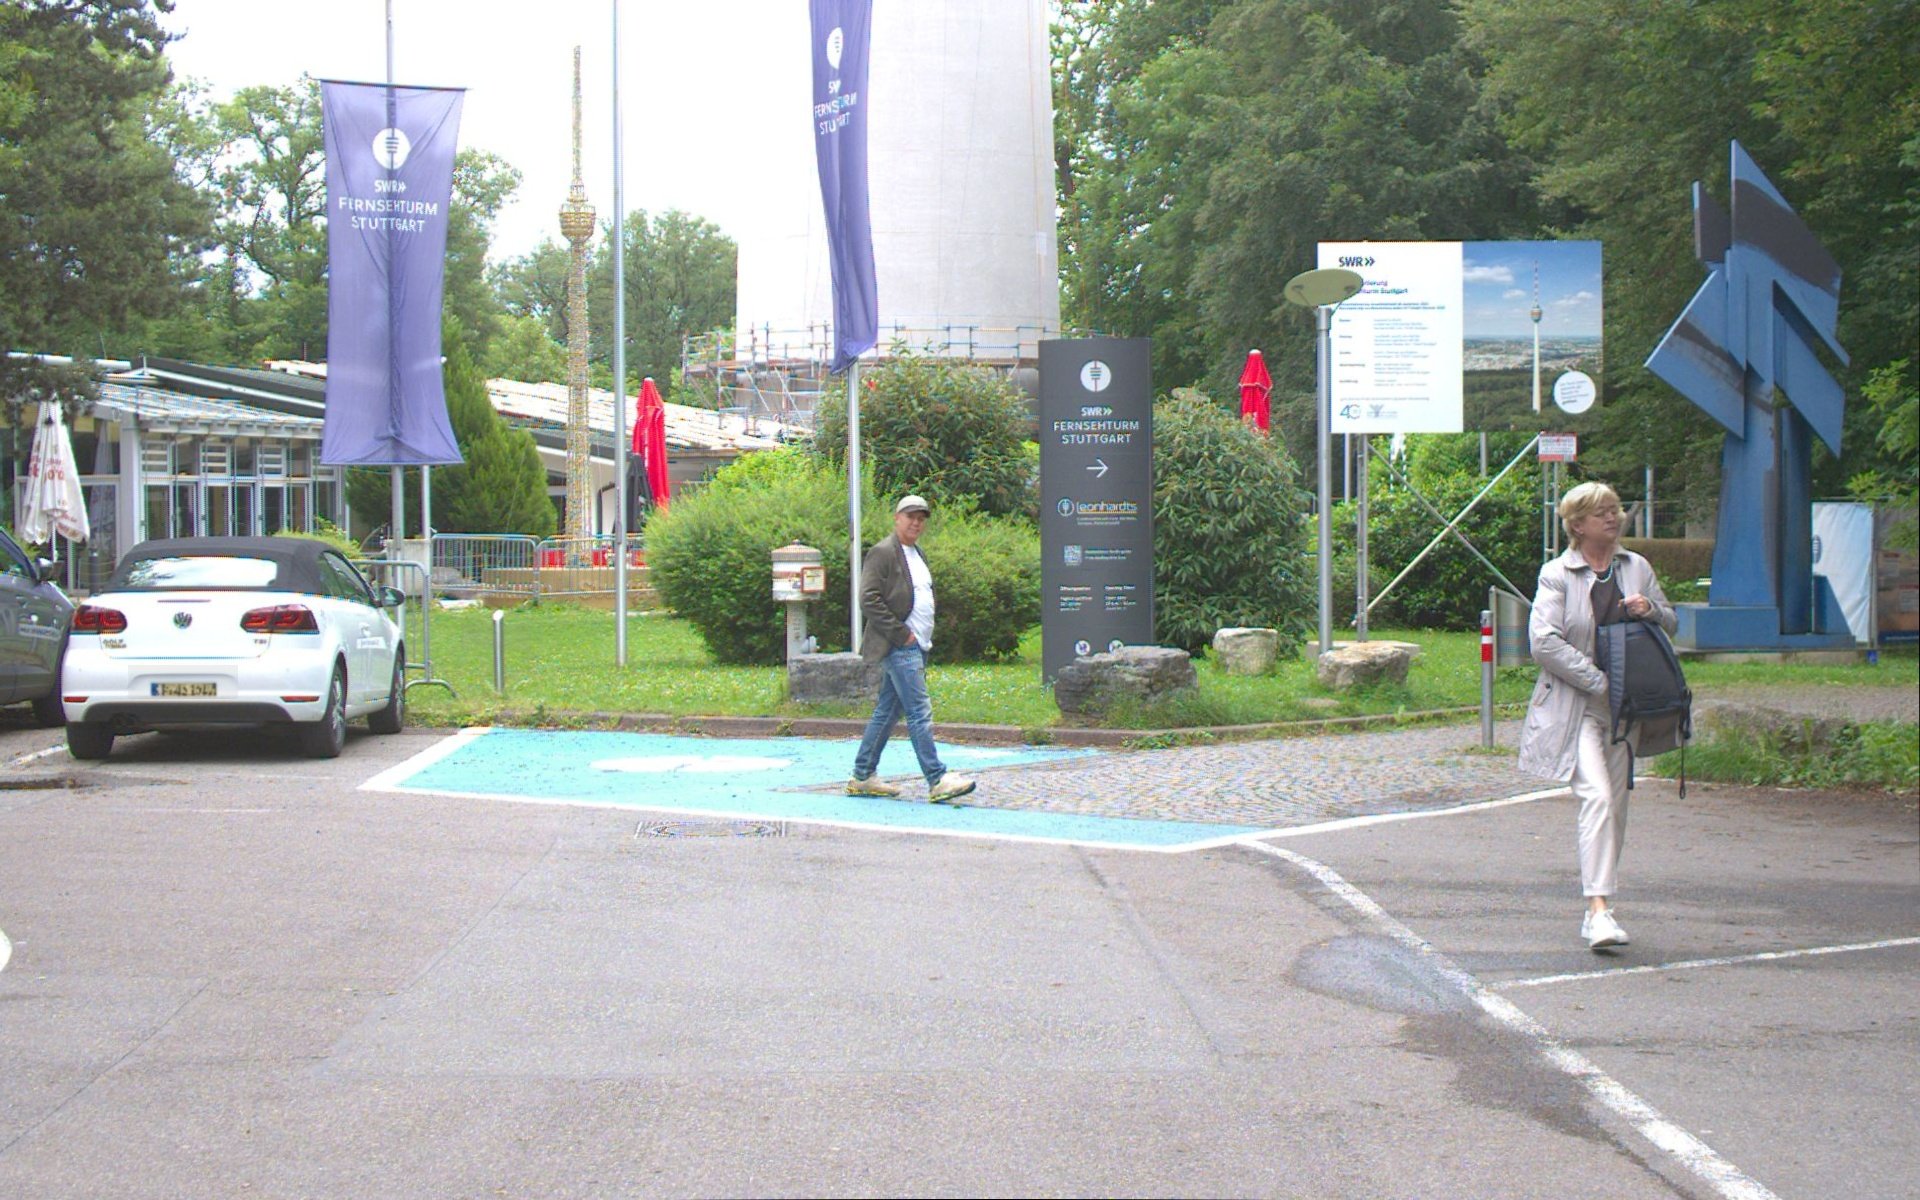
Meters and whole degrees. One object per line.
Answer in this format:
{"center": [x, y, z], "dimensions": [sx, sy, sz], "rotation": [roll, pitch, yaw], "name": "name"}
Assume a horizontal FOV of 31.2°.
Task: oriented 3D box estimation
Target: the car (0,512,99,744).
{"center": [-7.471, 0.174, 24.003], "dimensions": [1.893, 1.579, 4.000], "rotation": [0, 1, 0], "name": "car"}

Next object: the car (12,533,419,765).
{"center": [-4.934, 0.266, 23.337], "dimensions": [1.893, 1.423, 4.000], "rotation": [0, 1, 0], "name": "car"}

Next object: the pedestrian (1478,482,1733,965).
{"center": [2.367, 0.432, 12.699], "dimensions": [0.762, 1.719, 0.897], "rotation": [0, 1, 0], "name": "pedestrian"}

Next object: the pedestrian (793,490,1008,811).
{"center": [-0.328, 0.256, 18.975], "dimensions": [0.896, 1.719, 0.762], "rotation": [1, 1, 38], "name": "pedestrian"}
